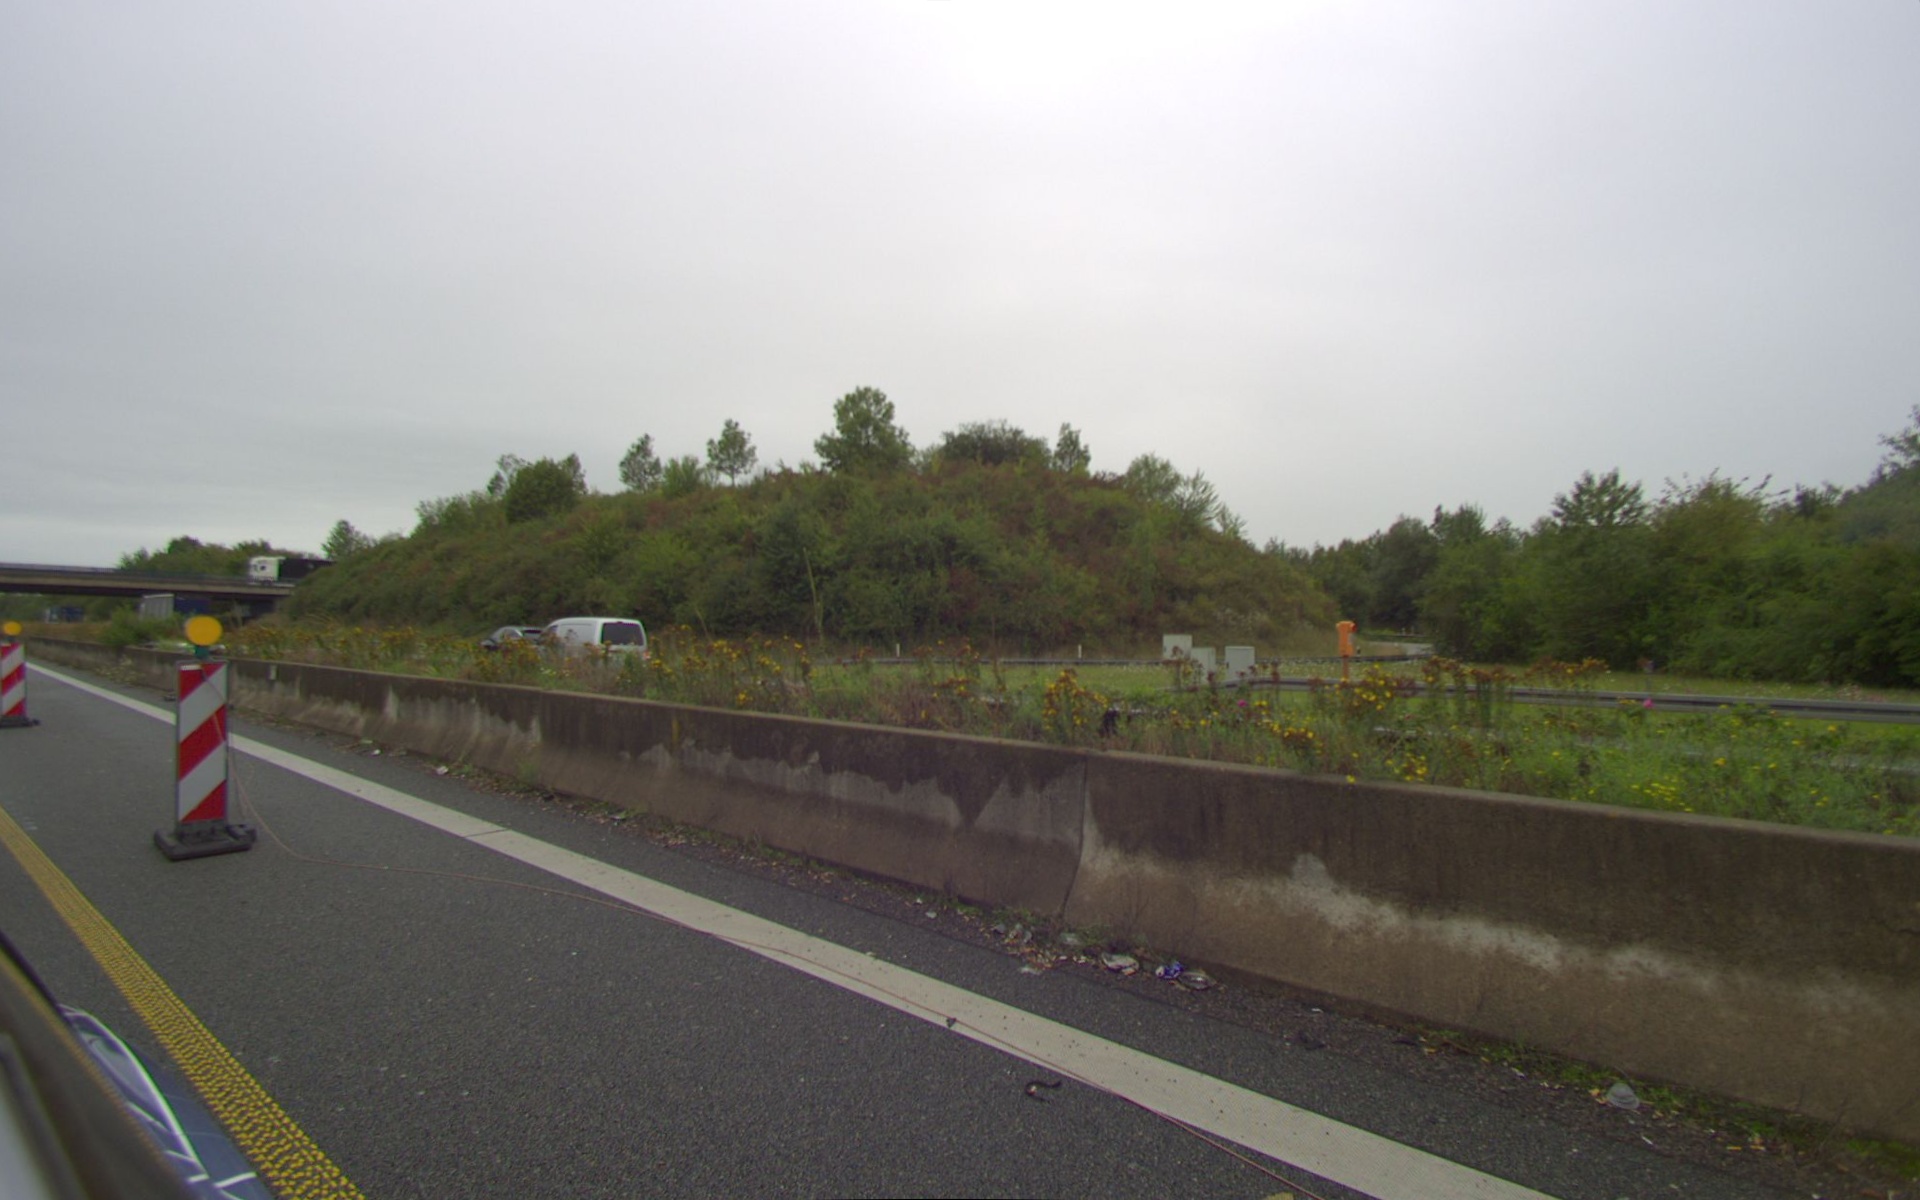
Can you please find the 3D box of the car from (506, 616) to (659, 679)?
[{"bbox_3d":[-10.327,1.266,27.491,4.744,1.555,1.849,-2,-3,41],"label":"car"}]

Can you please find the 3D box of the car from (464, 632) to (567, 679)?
[{"bbox_3d":[-16.917,2.067,38.452,4.294,1.674,1.972,-2,-3,41],"label":"car"}]

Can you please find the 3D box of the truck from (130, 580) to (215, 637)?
[{"bbox_3d":[-69.175,0.740,88.682,17.290,4.558,3.369,-1,-1,44],"label":"truck"}]
